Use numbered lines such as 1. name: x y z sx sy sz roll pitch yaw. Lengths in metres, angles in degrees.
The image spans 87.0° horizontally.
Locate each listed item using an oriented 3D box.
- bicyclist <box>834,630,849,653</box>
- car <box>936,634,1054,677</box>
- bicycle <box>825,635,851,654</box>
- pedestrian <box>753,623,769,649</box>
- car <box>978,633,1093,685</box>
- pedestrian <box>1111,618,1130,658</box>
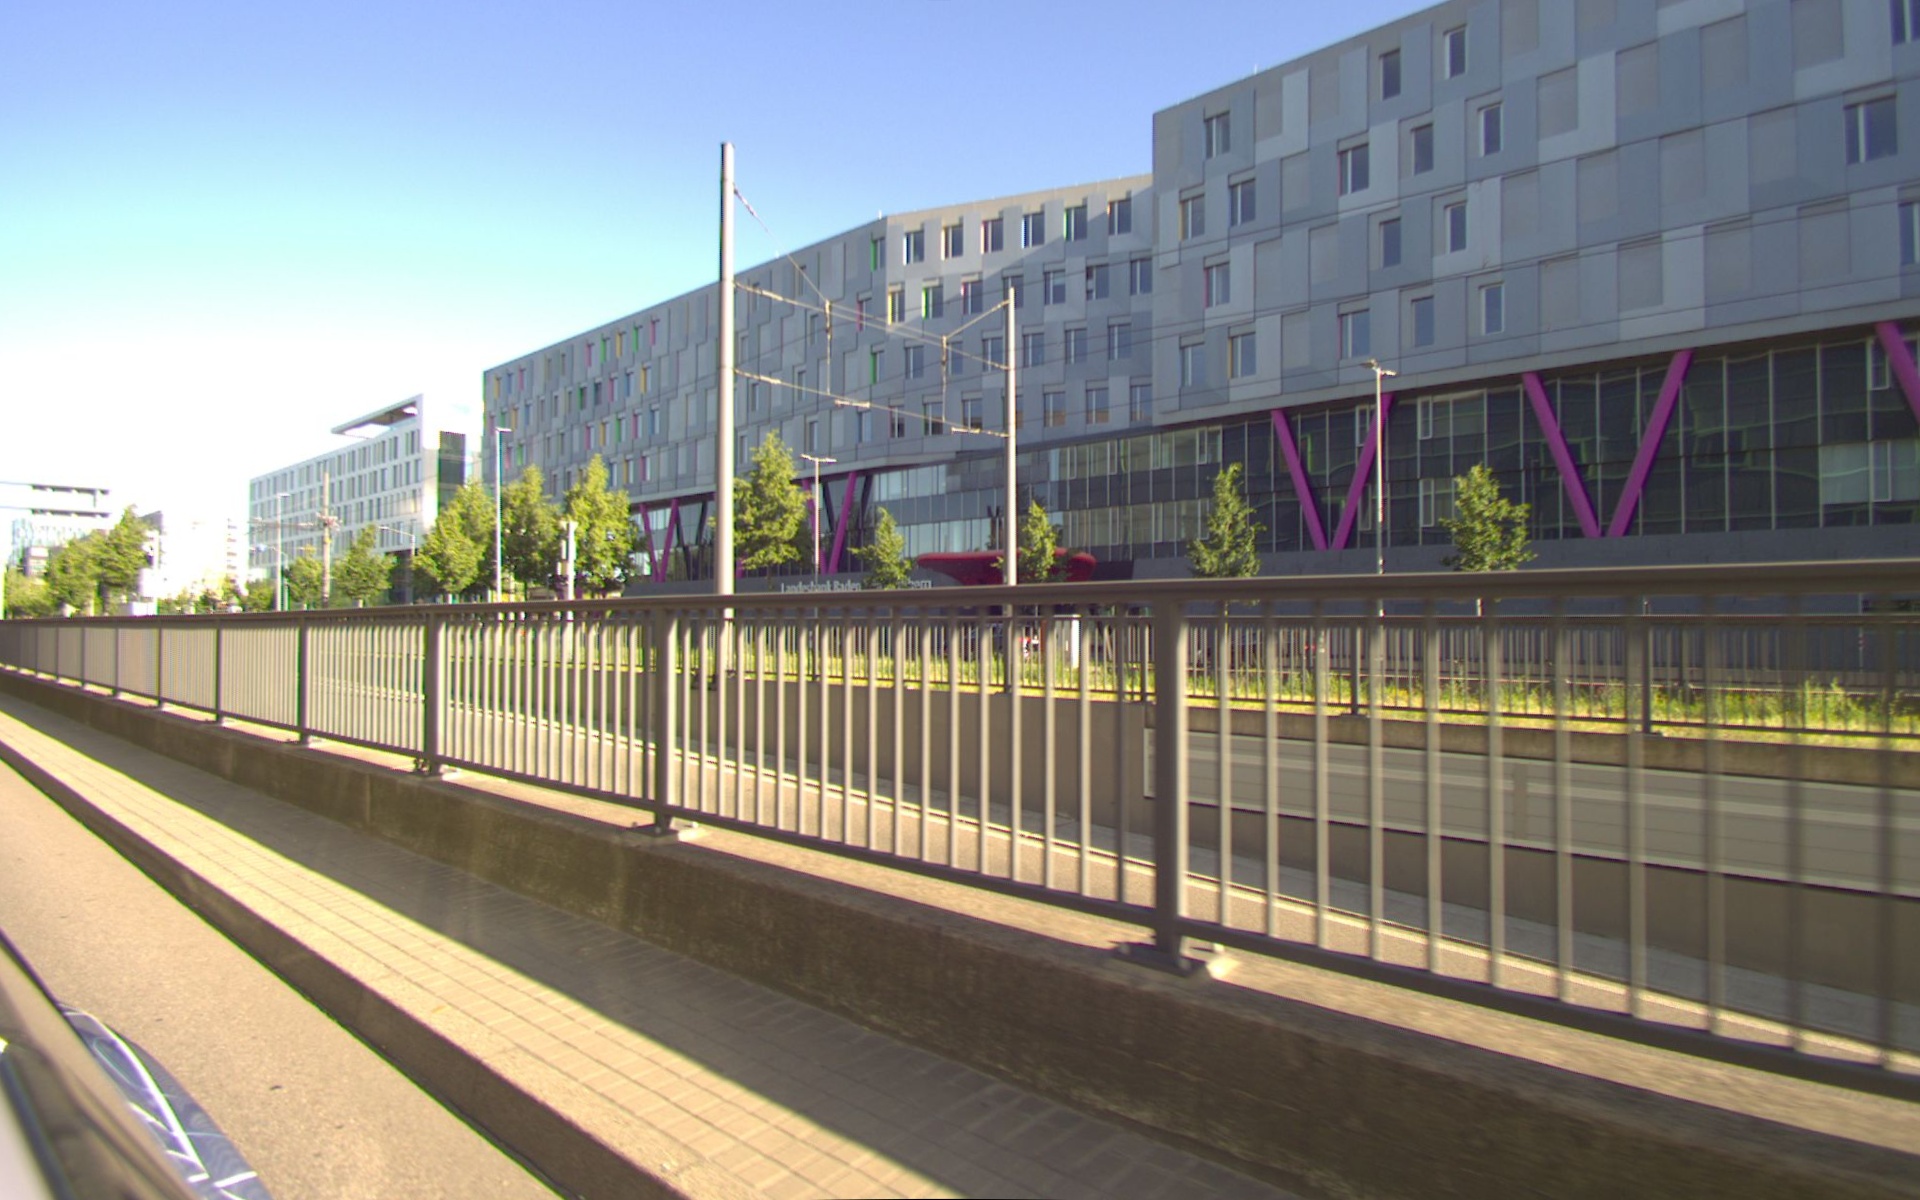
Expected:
1. bicyclist: -7.594 2.660 64.865 0.763 1.507 0.552 -2 -3 42
2. car: 1.363 2.182 40.667 4.719 1.538 1.779 -2 -1 43
3. bicycle: -7.803 2.813 64.626 1.975 1.181 0.514 -2 -2 42
4. pedestrian: -13.947 2.518 70.831 0.871 1.836 0.713 -2 -3 42
5. car: 2.852 2.199 38.518 3.998 1.853 1.973 -2 -3 41
6. pedestrian: 8.261 1.967 51.994 0.689 2.029 0.728 -2 -2 42
